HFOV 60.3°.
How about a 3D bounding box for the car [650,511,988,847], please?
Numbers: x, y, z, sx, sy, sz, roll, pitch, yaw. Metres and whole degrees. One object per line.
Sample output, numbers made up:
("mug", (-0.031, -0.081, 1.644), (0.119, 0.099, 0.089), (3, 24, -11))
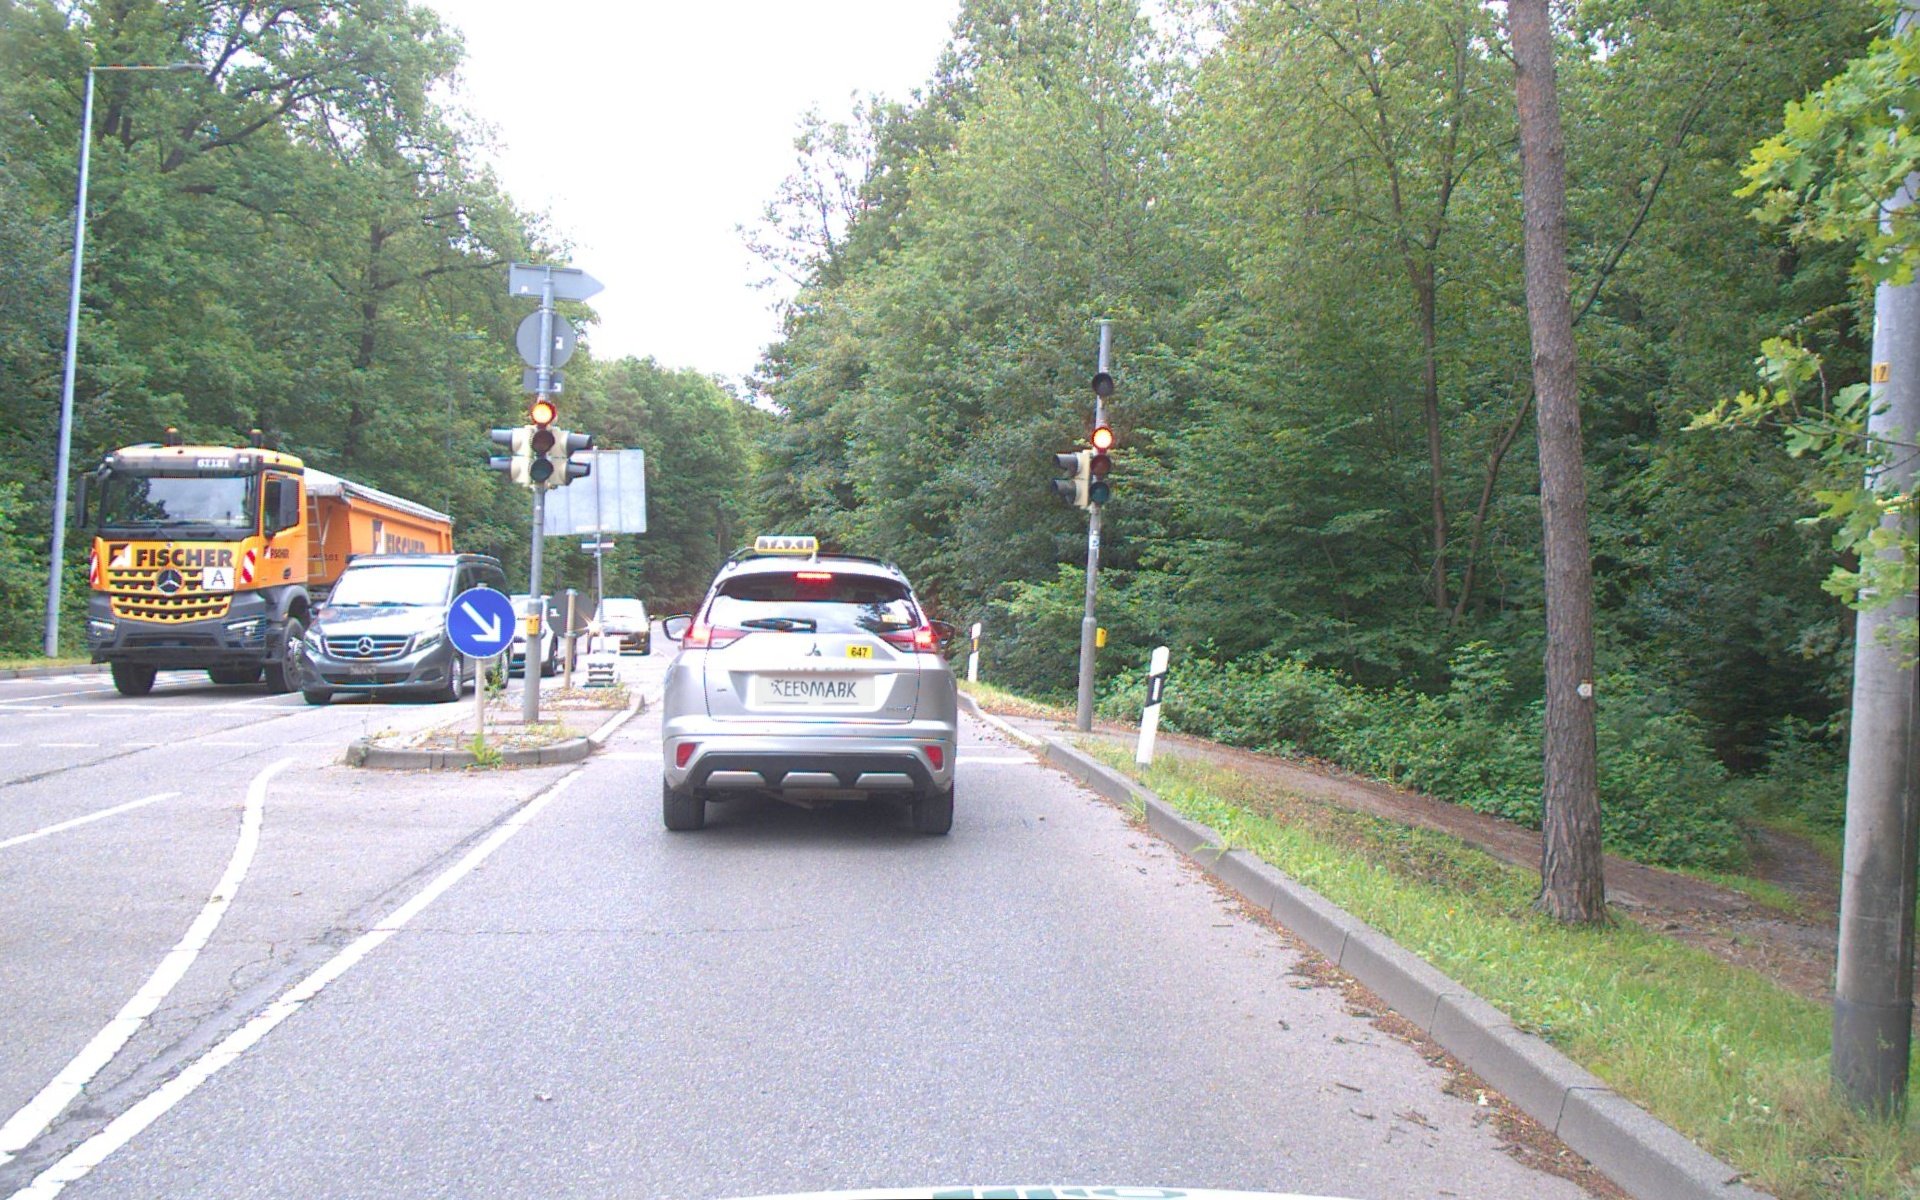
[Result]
("car", (-0.974, 0.427, 11.171), (1.811, 1.811, 3.995), (2, 0, -6))

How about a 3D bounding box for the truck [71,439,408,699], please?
("truck", (-10.581, -0.365, 25.161), (2.686, 3.376, 7.149), (0, -1, -7))

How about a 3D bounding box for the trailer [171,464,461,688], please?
("trailer", (-11.061, -0.320, 29.408), (2.686, 3.376, 8.556), (0, -1, -7))

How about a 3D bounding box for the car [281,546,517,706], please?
("car", (-7.459, 0.323, 22.516), (1.955, 1.927, 4.833), (0, 0, -5))

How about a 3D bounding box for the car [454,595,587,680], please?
("car", (-7.823, 0.632, 29.706), (1.580, 1.344, 3.719), (-1, 1, -4))

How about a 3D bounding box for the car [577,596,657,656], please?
("car", (-9.355, 0.683, 45.311), (1.777, 1.534, 3.716), (-1, 0, -6))
